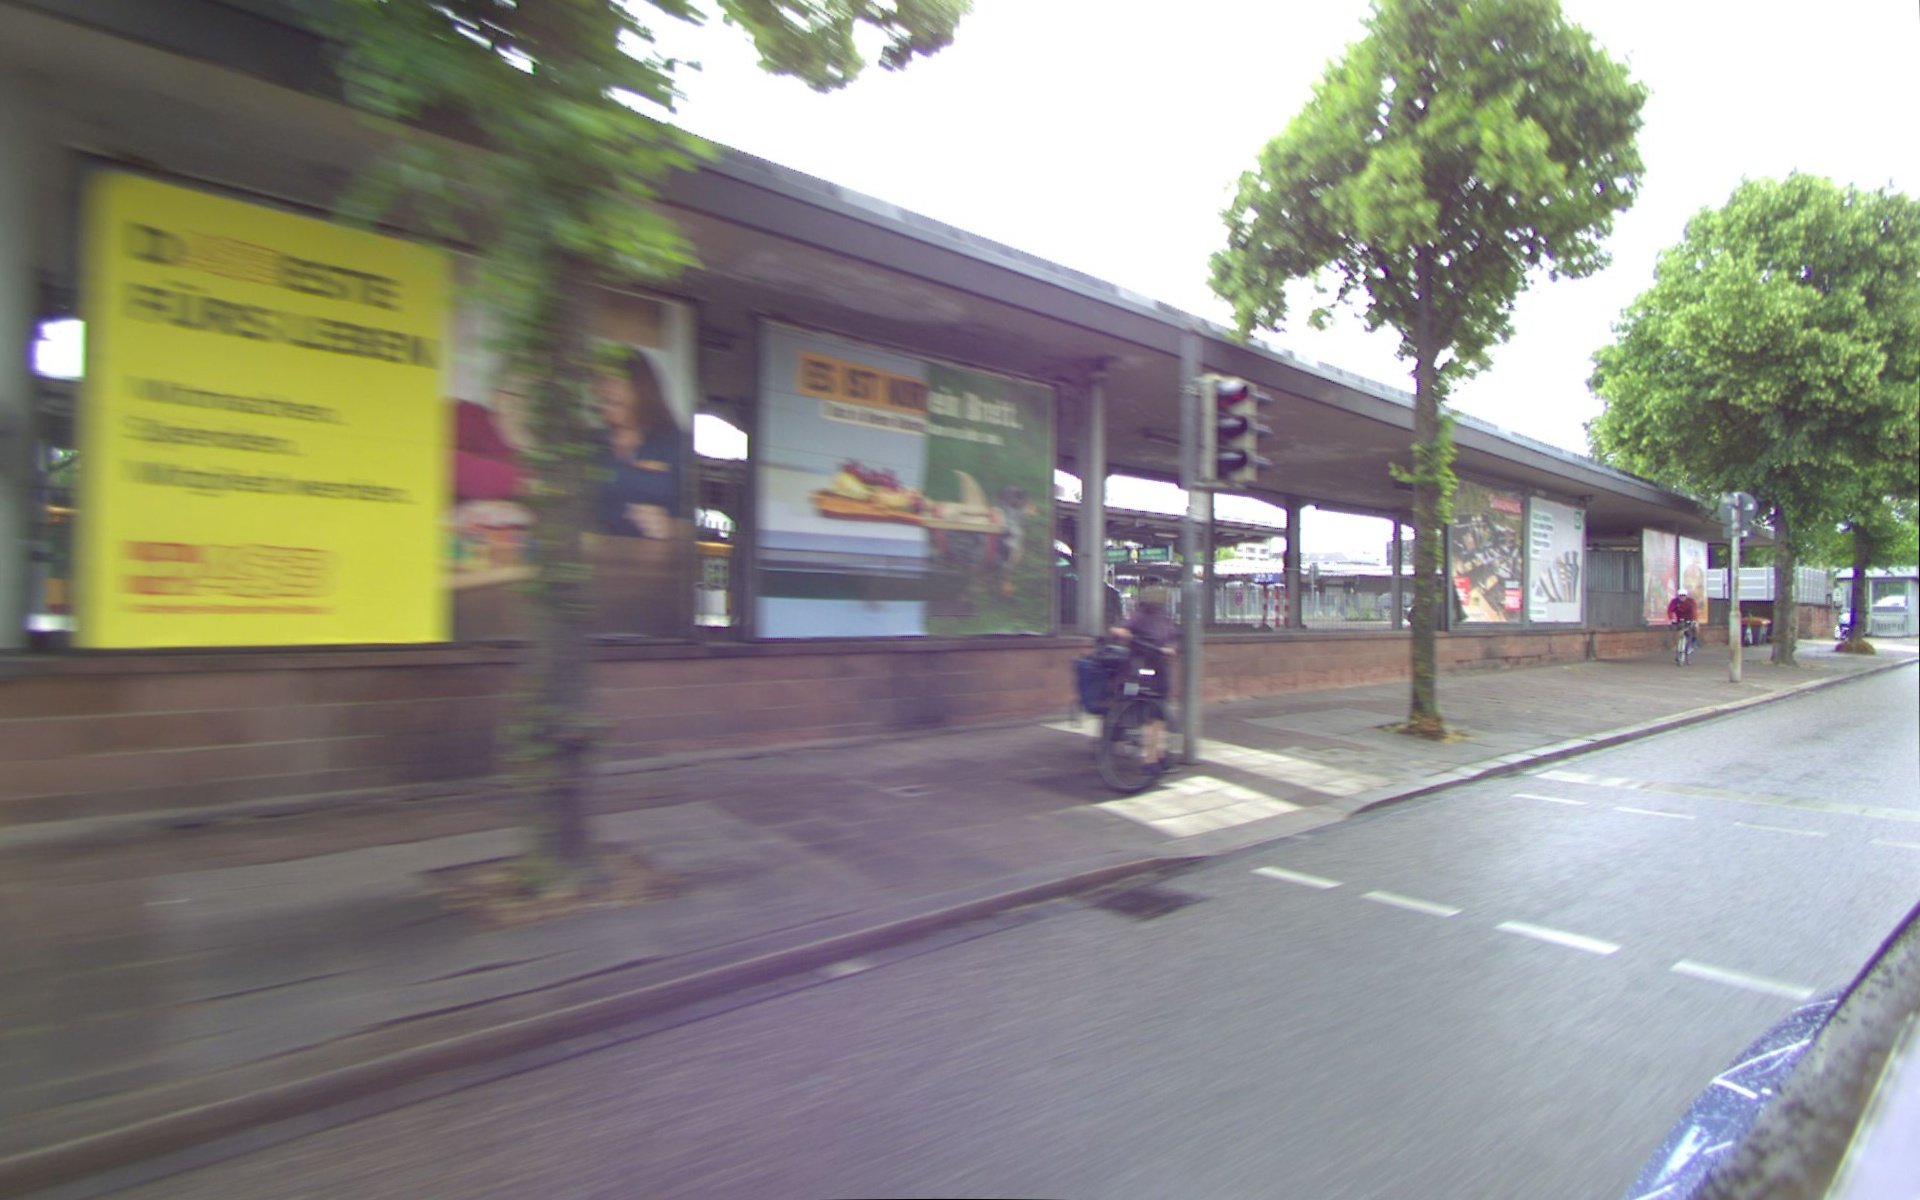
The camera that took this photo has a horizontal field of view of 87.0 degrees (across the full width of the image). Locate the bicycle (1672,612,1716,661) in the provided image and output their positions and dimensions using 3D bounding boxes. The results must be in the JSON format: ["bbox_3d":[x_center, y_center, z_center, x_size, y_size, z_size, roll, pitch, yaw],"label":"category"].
[{"bbox_3d":[16.318,0.791,22.480,1.649,1.028,0.447,0,3,-43],"label":"bicycle"}]

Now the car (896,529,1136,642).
[{"bbox_3d":[1.156,-0.267,19.332,4.520,1.894,1.996,0,1,-43],"label":"car"}]

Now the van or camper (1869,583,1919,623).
[{"bbox_3d":[71.363,0.283,74.235,6.448,2.905,2.266,2,1,20],"label":"van or camper"}]

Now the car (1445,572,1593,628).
[{"bbox_3d":[17.174,-0.039,31.218,1.714,1.561,3.570,1,2,-35],"label":"car"}]

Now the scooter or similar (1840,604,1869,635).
[{"bbox_3d":[35.520,0.750,40.191,0.490,1.167,1.698,1,1,29],"label":"scooter or similar"}]

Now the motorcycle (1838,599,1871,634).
[{"bbox_3d":[36.965,0.672,41.814,2.416,1.365,0.792,1,1,-44],"label":"motorcycle"}]

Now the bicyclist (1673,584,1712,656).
[{"bbox_3d":[16.270,0.439,22.484,0.683,1.557,0.534,1,2,-44],"label":"bicyclist"}]

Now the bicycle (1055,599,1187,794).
[{"bbox_3d":[1.187,0.665,7.795,0.476,1.264,1.728,2,2,-8],"label":"bicycle"}]

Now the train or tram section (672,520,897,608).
[{"bbox_3d":[-7.157,-1.429,42.698,9.357,3.323,2.658,0,2,-42],"label":"train or tram section"}]

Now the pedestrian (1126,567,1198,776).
[{"bbox_3d":[1.571,0.542,7.924,0.385,1.588,0.459,1,1,-6],"label":"pedestrian"}]

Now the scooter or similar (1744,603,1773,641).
[{"bbox_3d":[25.563,0.687,32.383,1.519,1.167,0.493,0,1,-44],"label":"scooter or similar"}]

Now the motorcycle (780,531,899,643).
[{"bbox_3d":[-1.936,-0.203,15.947,0.681,1.630,2.345,0,0,-40],"label":"motorcycle"}]

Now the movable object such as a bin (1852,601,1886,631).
[{"bbox_3d":[41.837,0.728,46.593,1.295,1.355,1.035,1,1,-43],"label":"movable object such as a bin"}]

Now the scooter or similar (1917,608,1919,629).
[{"bbox_3d":[57.424,1.092,59.800,1.638,1.170,1.067,0,0,-41],"label":"scooter or similar"}]

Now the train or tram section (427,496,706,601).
[{"bbox_3d":[-13.890,-1.688,36.428,8.977,3.323,2.658,0,1,-42],"label":"train or tram section"}]

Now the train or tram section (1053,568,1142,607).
[{"bbox_3d":[13.742,-1.207,100.014,10.751,3.648,2.741,0,1,-45],"label":"train or tram section"}]
